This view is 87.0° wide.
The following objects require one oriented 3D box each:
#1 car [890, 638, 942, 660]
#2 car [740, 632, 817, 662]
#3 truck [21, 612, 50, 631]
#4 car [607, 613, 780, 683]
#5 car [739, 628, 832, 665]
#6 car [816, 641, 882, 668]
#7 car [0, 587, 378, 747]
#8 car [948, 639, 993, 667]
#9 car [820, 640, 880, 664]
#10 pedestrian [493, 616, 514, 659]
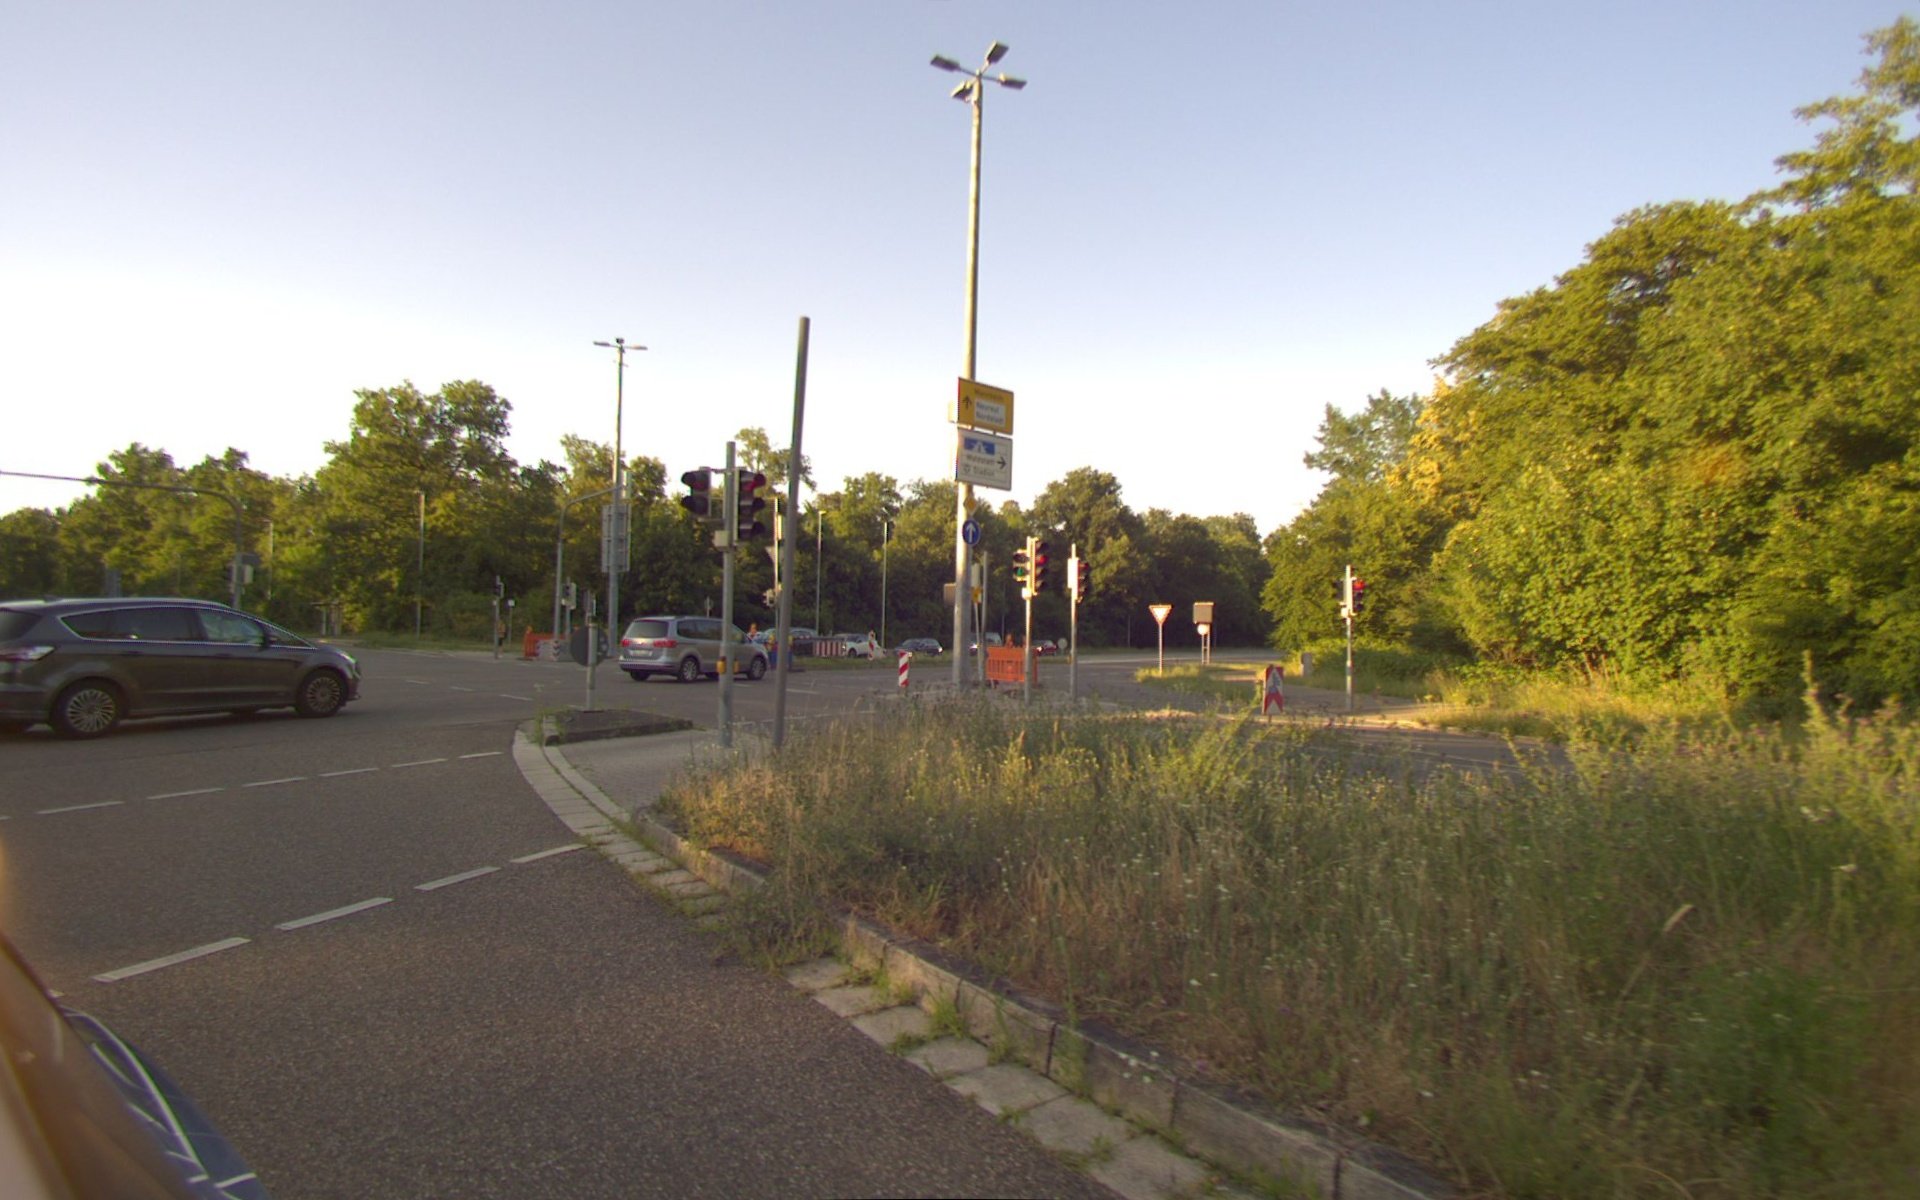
[{"bbox_3d":[-3.060,3.442,71.322,1.713,1.467,4.360,0,-2,27],"label":"car"},{"bbox_3d":[-9.311,2.394,52.252,1.713,1.467,4.193,0,-2,27],"label":"car"},{"bbox_3d":[-105.761,2.438,115.765,3.999,2.137,1.972,-1,-2,42],"label":"truck"},{"bbox_3d":[-7.068,1.265,27.386,1.864,1.738,4.614,-1,-2,29],"label":"car"},{"bbox_3d":[-7.341,1.957,43.018,1.713,1.467,4.193,0,-2,27],"label":"car"},{"bbox_3d":[-6.238,3.047,57.187,1.713,1.467,4.194,0,-2,27],"label":"car"},{"bbox_3d":[-10.353,0.719,13.008,1.998,1.674,4.787,1,0,21],"label":"car"},{"bbox_3d":[0.878,4.086,78.537,1.874,2.040,4.195,0,-2,26],"label":"car"},{"bbox_3d":[-6.904,3.266,64.004,1.713,1.467,4.193,0,-2,27],"label":"car"},{"bbox_3d":[-19.440,1.611,43.137,0.566,1.814,0.751,1,-2,-6],"label":"pedestrian"}]
